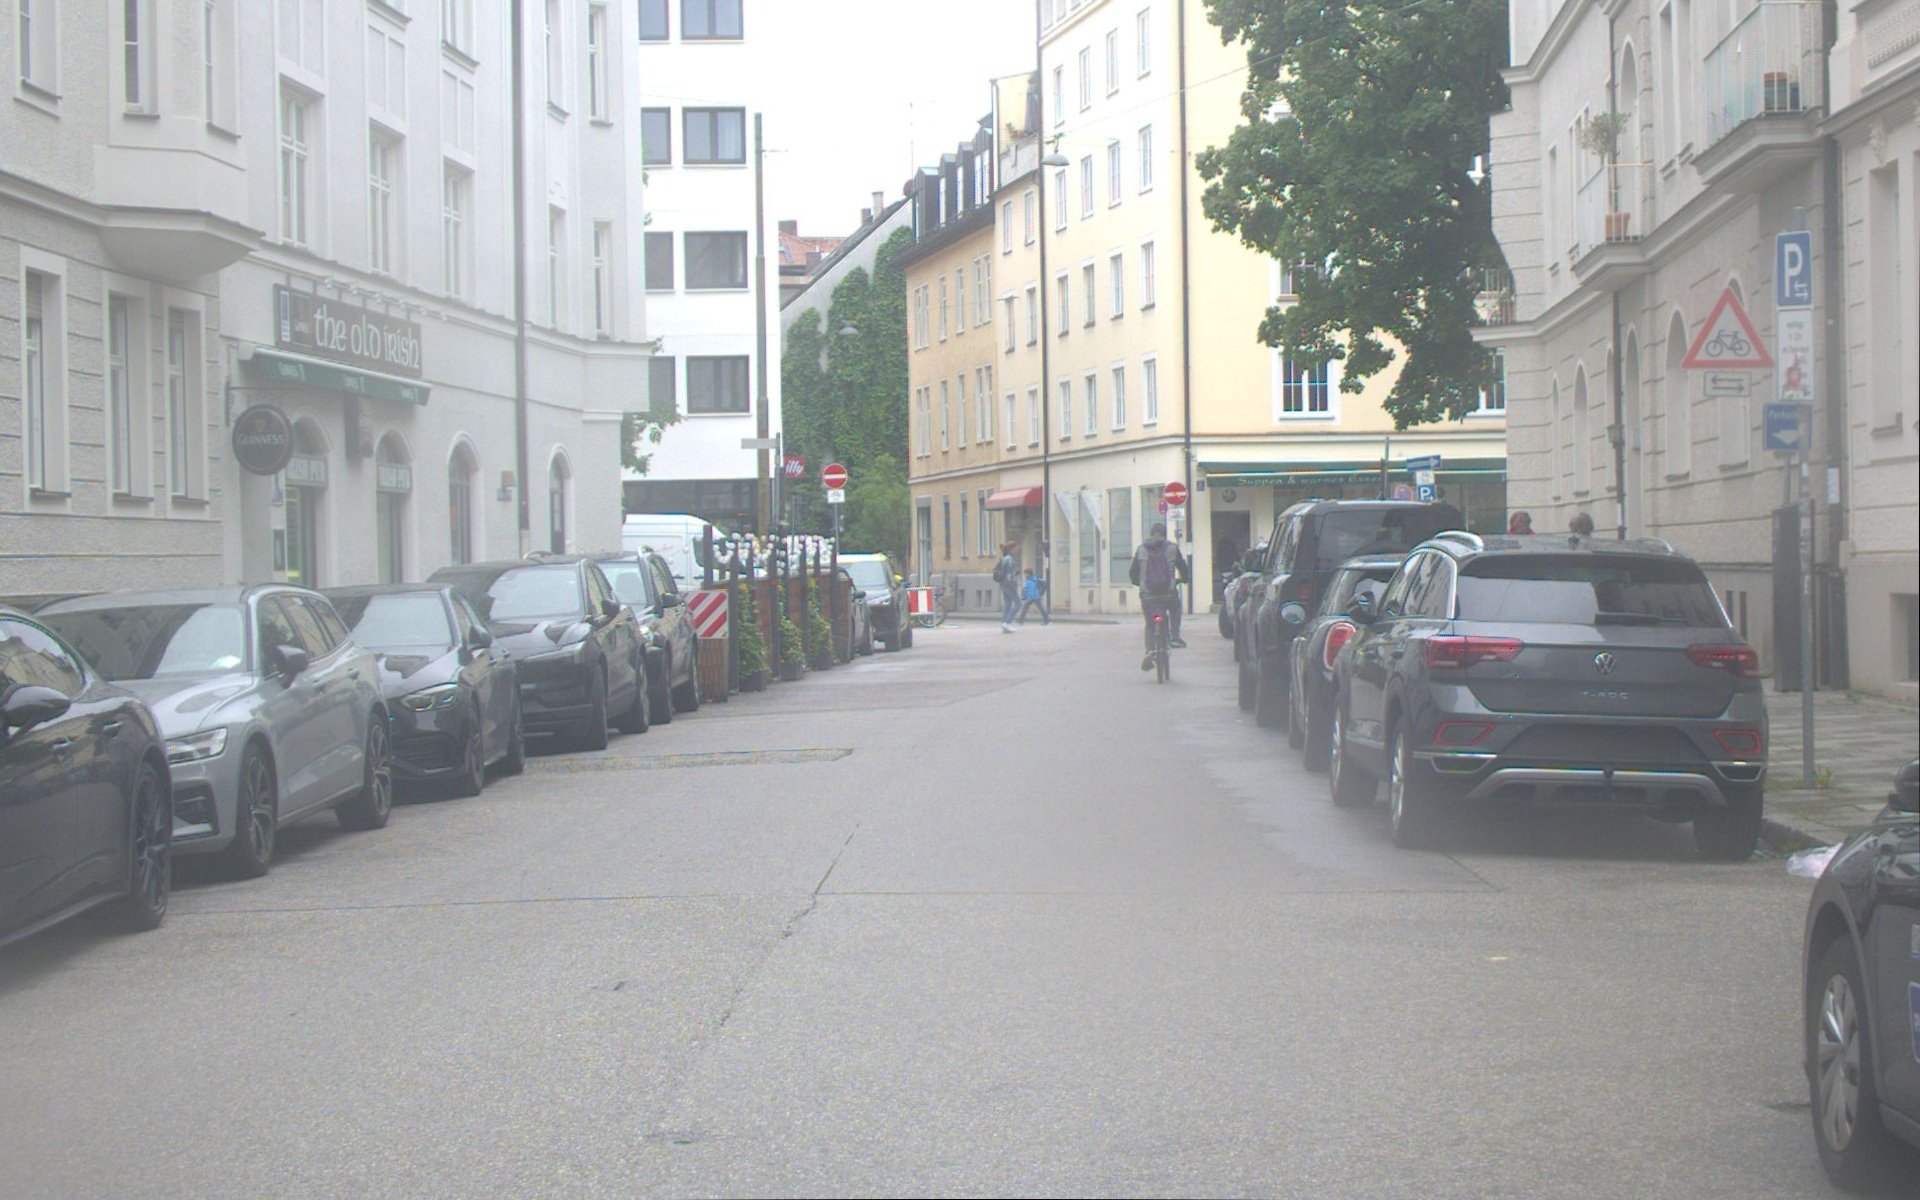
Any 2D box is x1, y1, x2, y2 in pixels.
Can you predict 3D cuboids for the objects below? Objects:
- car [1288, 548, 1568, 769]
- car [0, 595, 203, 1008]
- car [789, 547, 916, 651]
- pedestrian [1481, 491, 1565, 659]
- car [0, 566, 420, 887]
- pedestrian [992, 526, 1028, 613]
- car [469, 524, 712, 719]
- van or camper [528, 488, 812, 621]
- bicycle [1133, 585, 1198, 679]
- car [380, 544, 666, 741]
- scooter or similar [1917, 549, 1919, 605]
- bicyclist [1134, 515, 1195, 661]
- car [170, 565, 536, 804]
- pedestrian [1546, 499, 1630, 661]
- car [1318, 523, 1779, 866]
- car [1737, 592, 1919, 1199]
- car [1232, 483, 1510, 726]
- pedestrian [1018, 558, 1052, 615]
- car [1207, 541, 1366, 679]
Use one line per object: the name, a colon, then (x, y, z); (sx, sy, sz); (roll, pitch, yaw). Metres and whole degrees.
car: (3.177, 0.346, 23.895); (1.664, 1.390, 3.581); (1, 1, 4)
car: (-4.247, 0.716, 12.789); (1.849, 1.362, 4.702); (-1, 1, -1)
car: (-1.743, -0.033, 57.069); (1.676, 1.591, 3.945); (-3, 0, 4)
pedestrian: (5.895, -0.268, 36.033); (0.703, 1.722, 0.703); (-2, 1, 0)
car: (-4.226, 0.589, 18.261); (1.794, 1.415, 4.510); (-4, 1, 2)
pedestrian: (0.959, -0.585, 65.480); (0.611, 1.655, 0.551); (-1, 1, 6)
car: (-3.520, 0.150, 33.453); (1.746, 1.667, 4.276); (-4, 1, 1)
van or camper: (-6.205, -0.969, 73.457); (5.903, 2.668, 1.873); (-1, -1, -6)
bicycle: (2.296, 0.346, 38.373); (0.639, 1.001, 1.574); (-1, 1, 6)
car: (-3.557, 0.295, 28.649); (1.742, 1.481, 4.181); (-1, 1, 1)
scooter or similar: (6.423, 0.313, 21.661); (0.540, 1.283, 1.503); (-3, 1, 10)
bicyclist: (2.284, -0.138, 38.380); (0.606, 1.601, 0.757); (-1, 1, 6)
car: (-4.055, 0.503, 23.636); (1.810, 1.380, 4.444); (-3, 1, -2)
pedestrian: (6.647, -0.216, 36.405); (0.679, 1.668, 0.654); (-3, 1, 0)
car: (2.951, 0.396, 18.019); (1.707, 1.582, 4.000); (1, 1, 0)
car: (2.761, 0.721, 6.741); (1.612, 1.390, 4.000); (0, 1, 1)
car: (3.434, -0.004, 29.535); (1.911, 1.879, 4.714); (1, 1, 2)
pedestrian: (1.725, -0.317, 78.765); (0.699, 1.266, 0.651); (-2, 1, 6)
car: (3.758, 0.076, 39.658); (1.707, 1.466, 4.200); (-1, 1, 5)
